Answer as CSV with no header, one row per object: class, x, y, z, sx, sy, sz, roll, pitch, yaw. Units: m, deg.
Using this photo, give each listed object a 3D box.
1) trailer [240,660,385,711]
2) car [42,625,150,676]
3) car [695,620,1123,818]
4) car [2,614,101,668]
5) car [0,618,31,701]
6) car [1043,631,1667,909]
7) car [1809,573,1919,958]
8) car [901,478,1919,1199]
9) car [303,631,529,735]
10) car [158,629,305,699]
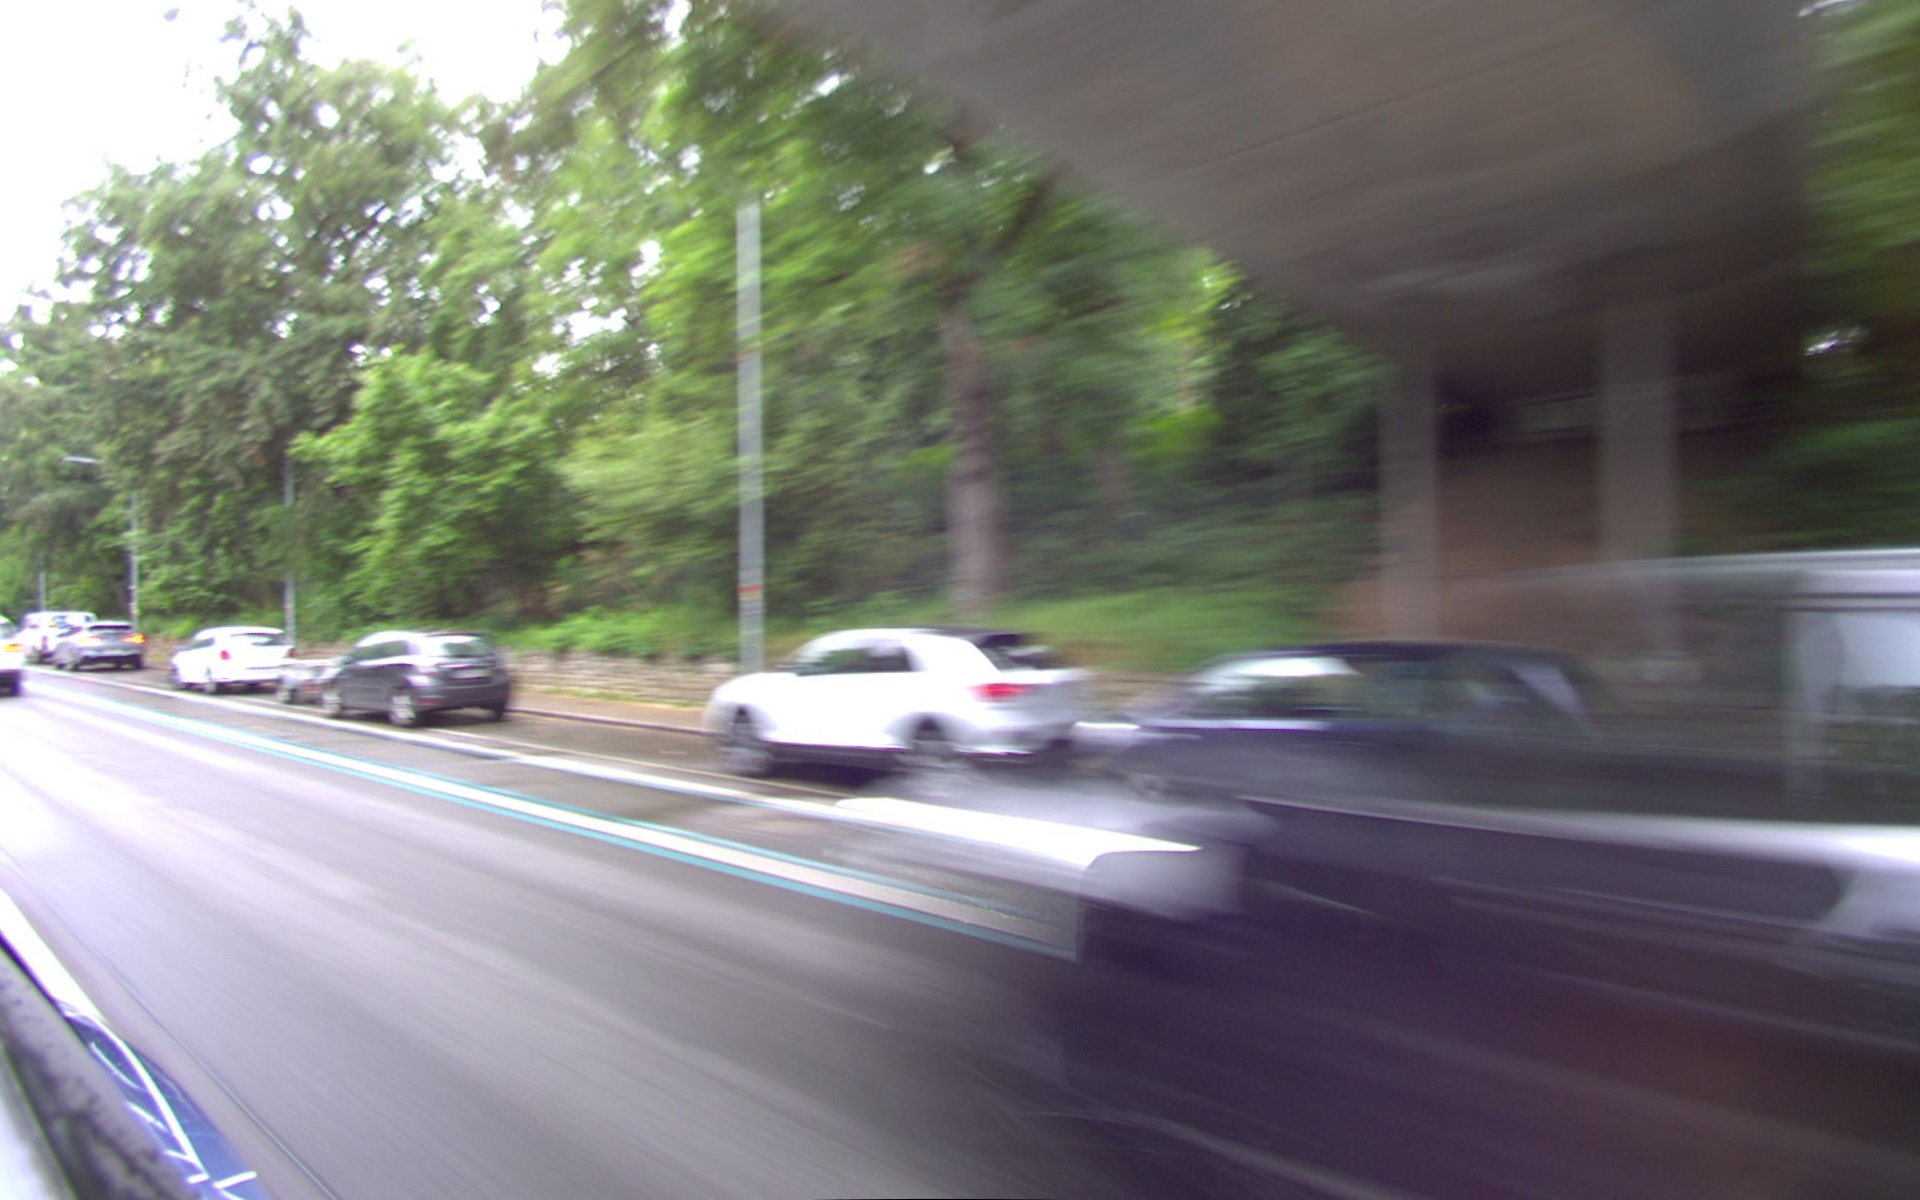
trailer,-13.136,1.690,20.481,3.301,0.825,1.527,-1,-1,39
car,-29.568,1.690,34.581,4.775,1.618,1.990,-2,-2,39
car,-0.654,1.012,10.041,4.228,1.558,1.671,-2,-2,39
car,-36.412,1.611,40.536,5.008,2.020,1.956,-2,-1,36
car,-21.165,1.207,21.283,4.177,1.679,1.815,-1,-4,40
car,2.620,0.970,7.231,3.840,1.450,1.593,-2,-2,40
car,6.617,0.714,4.054,4.833,1.755,1.970,-2,-2,39
car,2.084,0.669,1.991,4.319,1.640,1.945,-2,-2,42
car,-9.050,1.284,16.739,4.034,1.488,1.814,-2,-2,37
car,-17.046,1.438,23.630,3.977,1.493,1.772,-2,-2,38
